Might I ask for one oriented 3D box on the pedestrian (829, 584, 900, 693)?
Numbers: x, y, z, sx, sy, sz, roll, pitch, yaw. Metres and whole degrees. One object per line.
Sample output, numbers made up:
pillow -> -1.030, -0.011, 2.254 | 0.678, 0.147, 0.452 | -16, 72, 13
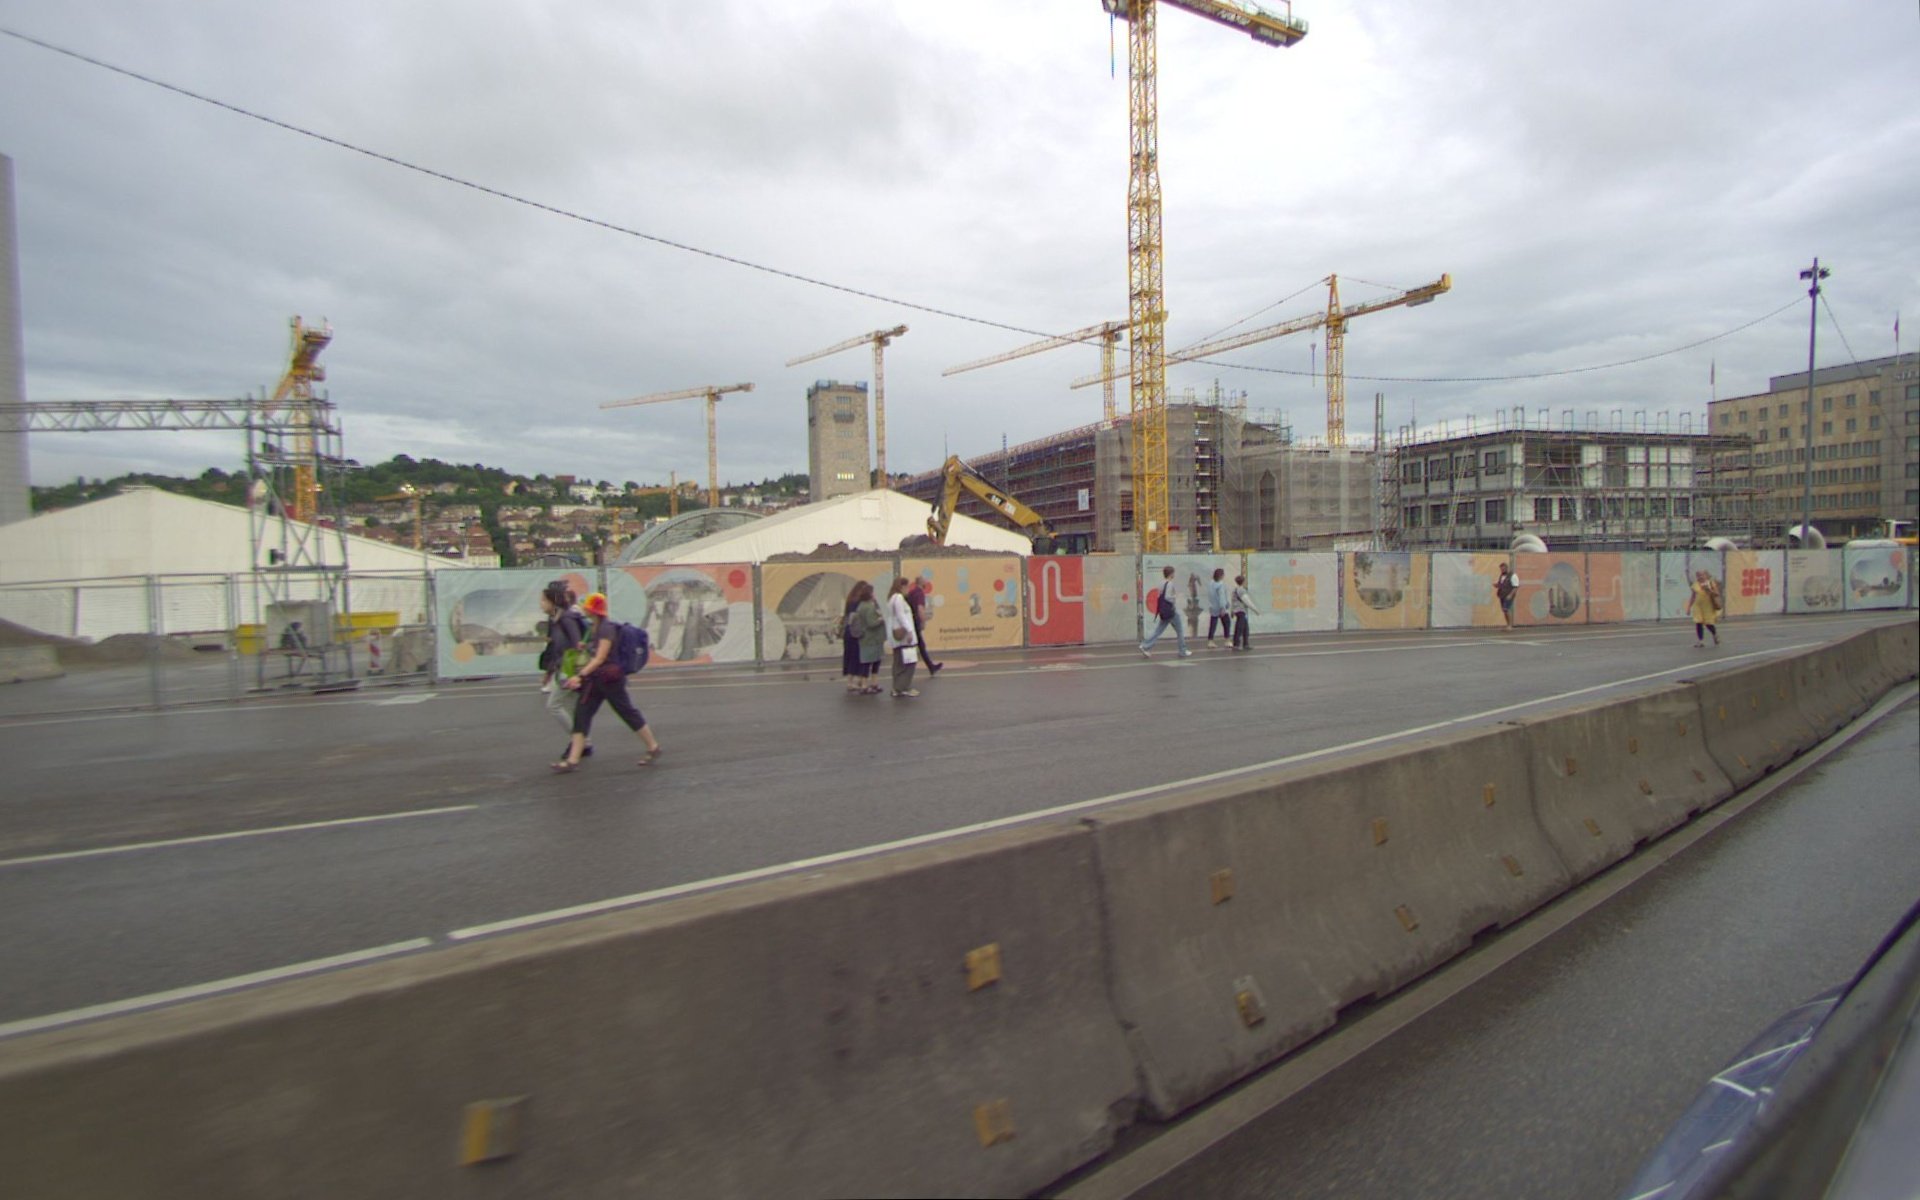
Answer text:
pedestrian -> -1.418, 0.543, 14.981 | 0.867, 1.541, 0.612 | -2, 1, -21

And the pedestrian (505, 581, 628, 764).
pedestrian -> -3.700, 0.642, 9.598 | 0.932, 1.613, 0.865 | -1, 1, -13

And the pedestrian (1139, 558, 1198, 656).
pedestrian -> 4.105, 0.120, 19.959 | 0.913, 1.872, 0.821 | -1, 1, -5

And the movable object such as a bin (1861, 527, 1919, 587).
movable object such as a bin -> 43.071, -1.934, 44.960 | 4.068, 2.567, 1.992 | -1, 1, 15

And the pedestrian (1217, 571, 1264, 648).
pedestrian -> 5.867, 0.183, 21.168 | 0.751, 1.572, 0.650 | -1, 1, -4

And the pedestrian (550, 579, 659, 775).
pedestrian -> -3.075, 0.635, 8.814 | 0.788, 1.595, 0.735 | -1, 0, -13

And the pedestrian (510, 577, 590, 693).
pedestrian -> -6.460, 0.524, 15.992 | 0.987, 1.747, 0.871 | -1, 1, -12

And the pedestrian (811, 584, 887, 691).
pedestrian -> -1.714, 0.556, 15.604 | 0.987, 1.572, 0.718 | -2, 1, -21

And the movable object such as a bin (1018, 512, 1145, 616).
movable object such as a bin -> 4.303, -1.289, 35.663 | 4.150, 3.451, 1.944 | -2, 2, -34

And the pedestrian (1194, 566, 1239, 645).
pedestrian -> 5.533, 0.103, 21.857 | 0.751, 1.675, 0.650 | -1, 1, -4

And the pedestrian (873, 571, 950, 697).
pedestrian -> -0.714, 0.464, 14.667 | 0.873, 1.744, 0.781 | -2, 1, -21

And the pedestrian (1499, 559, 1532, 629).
pedestrian -> 14.444, -0.162, 26.314 | 0.485, 1.769, 0.569 | -2, 1, -23

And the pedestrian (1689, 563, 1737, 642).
pedestrian -> 16.335, 0.036, 21.947 | 0.892, 1.653, 0.648 | -2, 2, -41

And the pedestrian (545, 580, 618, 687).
pedestrian -> -6.328, 0.539, 16.980 | 0.987, 1.710, 0.871 | -1, 1, -12

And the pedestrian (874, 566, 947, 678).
pedestrian -> -0.852, 0.349, 17.332 | 0.987, 1.840, 0.871 | -2, 1, -21
